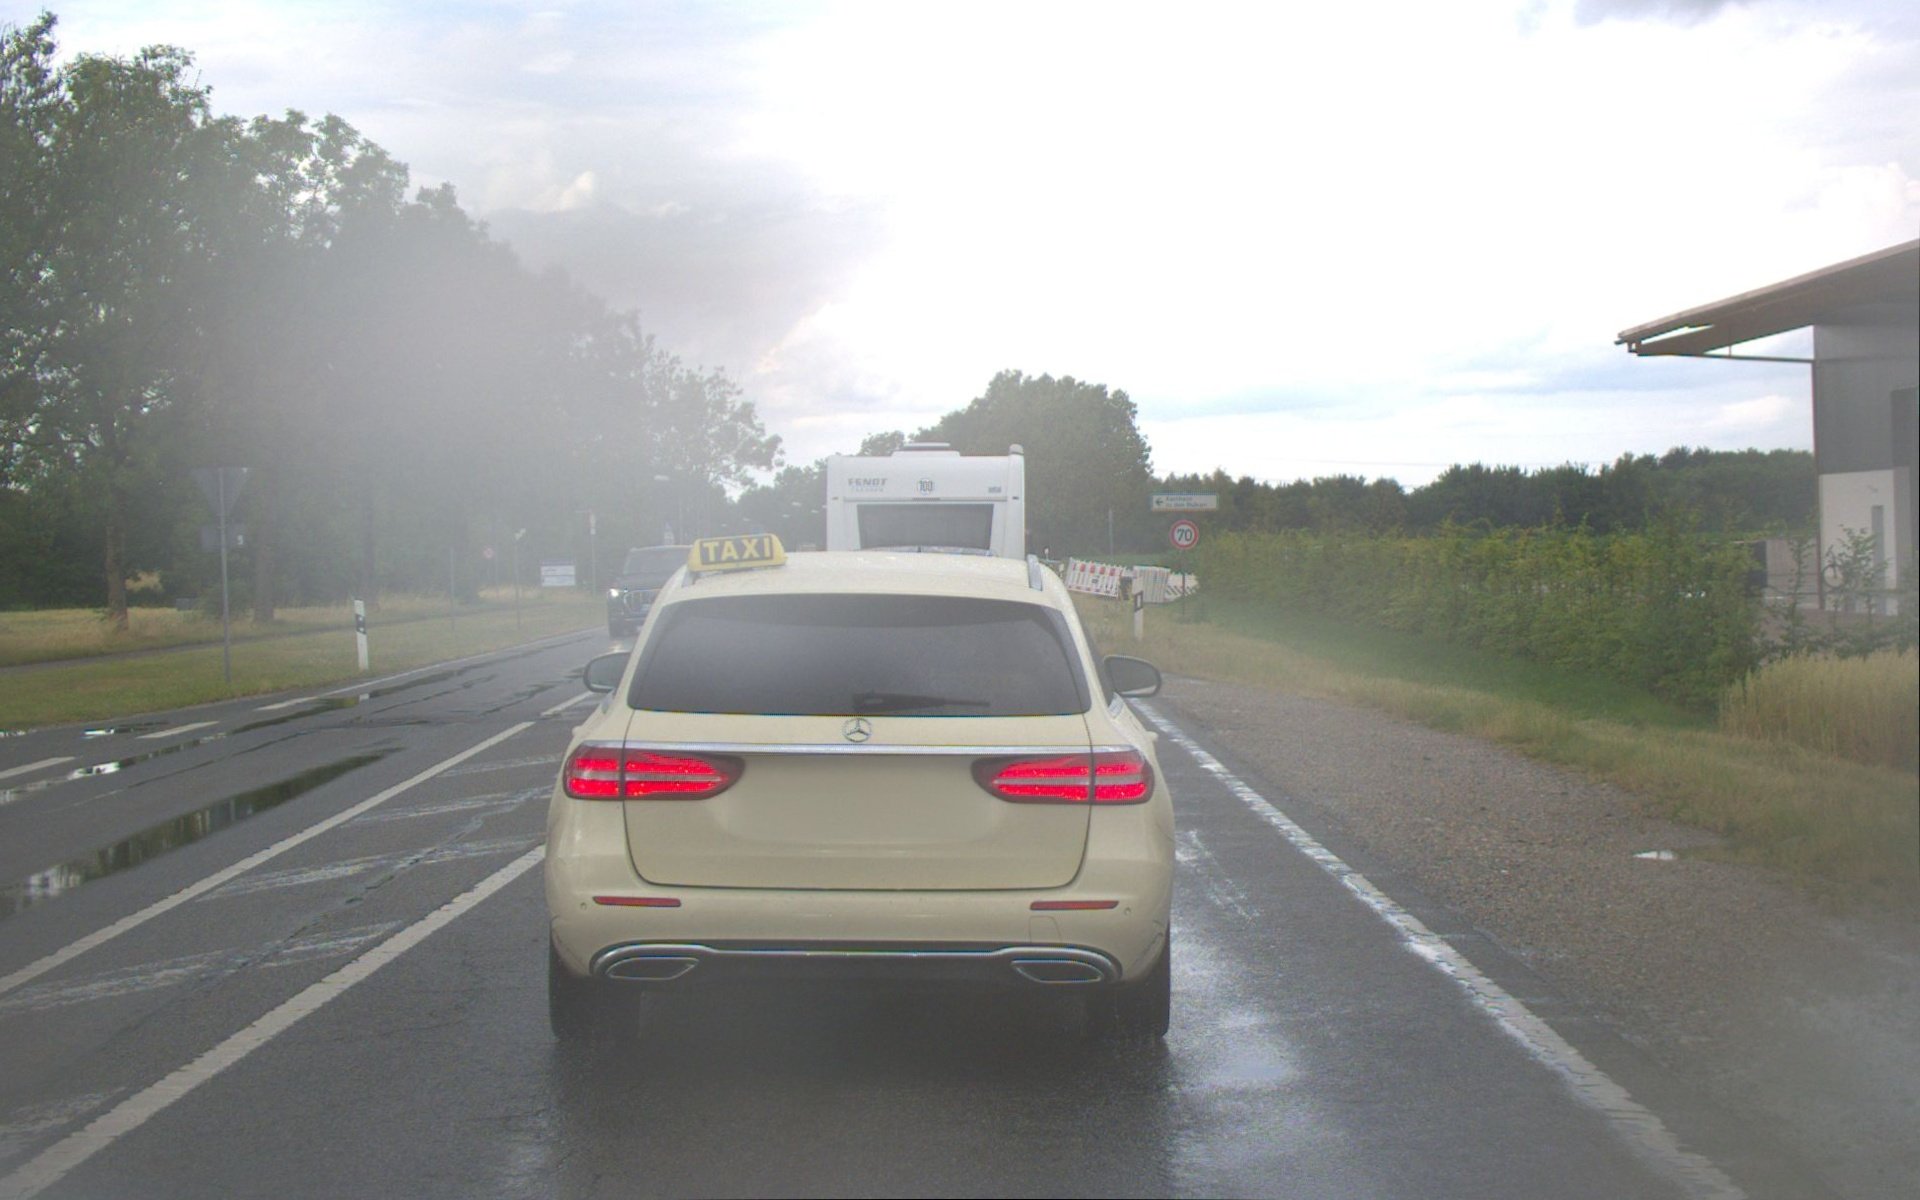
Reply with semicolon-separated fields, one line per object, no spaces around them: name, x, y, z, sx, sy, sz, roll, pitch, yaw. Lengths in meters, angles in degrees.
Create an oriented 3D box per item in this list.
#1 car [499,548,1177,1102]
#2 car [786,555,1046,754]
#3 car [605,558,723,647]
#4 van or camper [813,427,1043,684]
car;-0.323;0.568;11.141;1.797;1.459;4.031;0;1;0
car;-0.354;0.372;27.053;1.894;1.424;3.928;0;1;-1
car;-5.631;0.022;65.806;1.916;1.626;4.357;1;1;0
van or camper;-0.336;-0.544;41.752;2.497;2.821;5.934;-2;1;1
